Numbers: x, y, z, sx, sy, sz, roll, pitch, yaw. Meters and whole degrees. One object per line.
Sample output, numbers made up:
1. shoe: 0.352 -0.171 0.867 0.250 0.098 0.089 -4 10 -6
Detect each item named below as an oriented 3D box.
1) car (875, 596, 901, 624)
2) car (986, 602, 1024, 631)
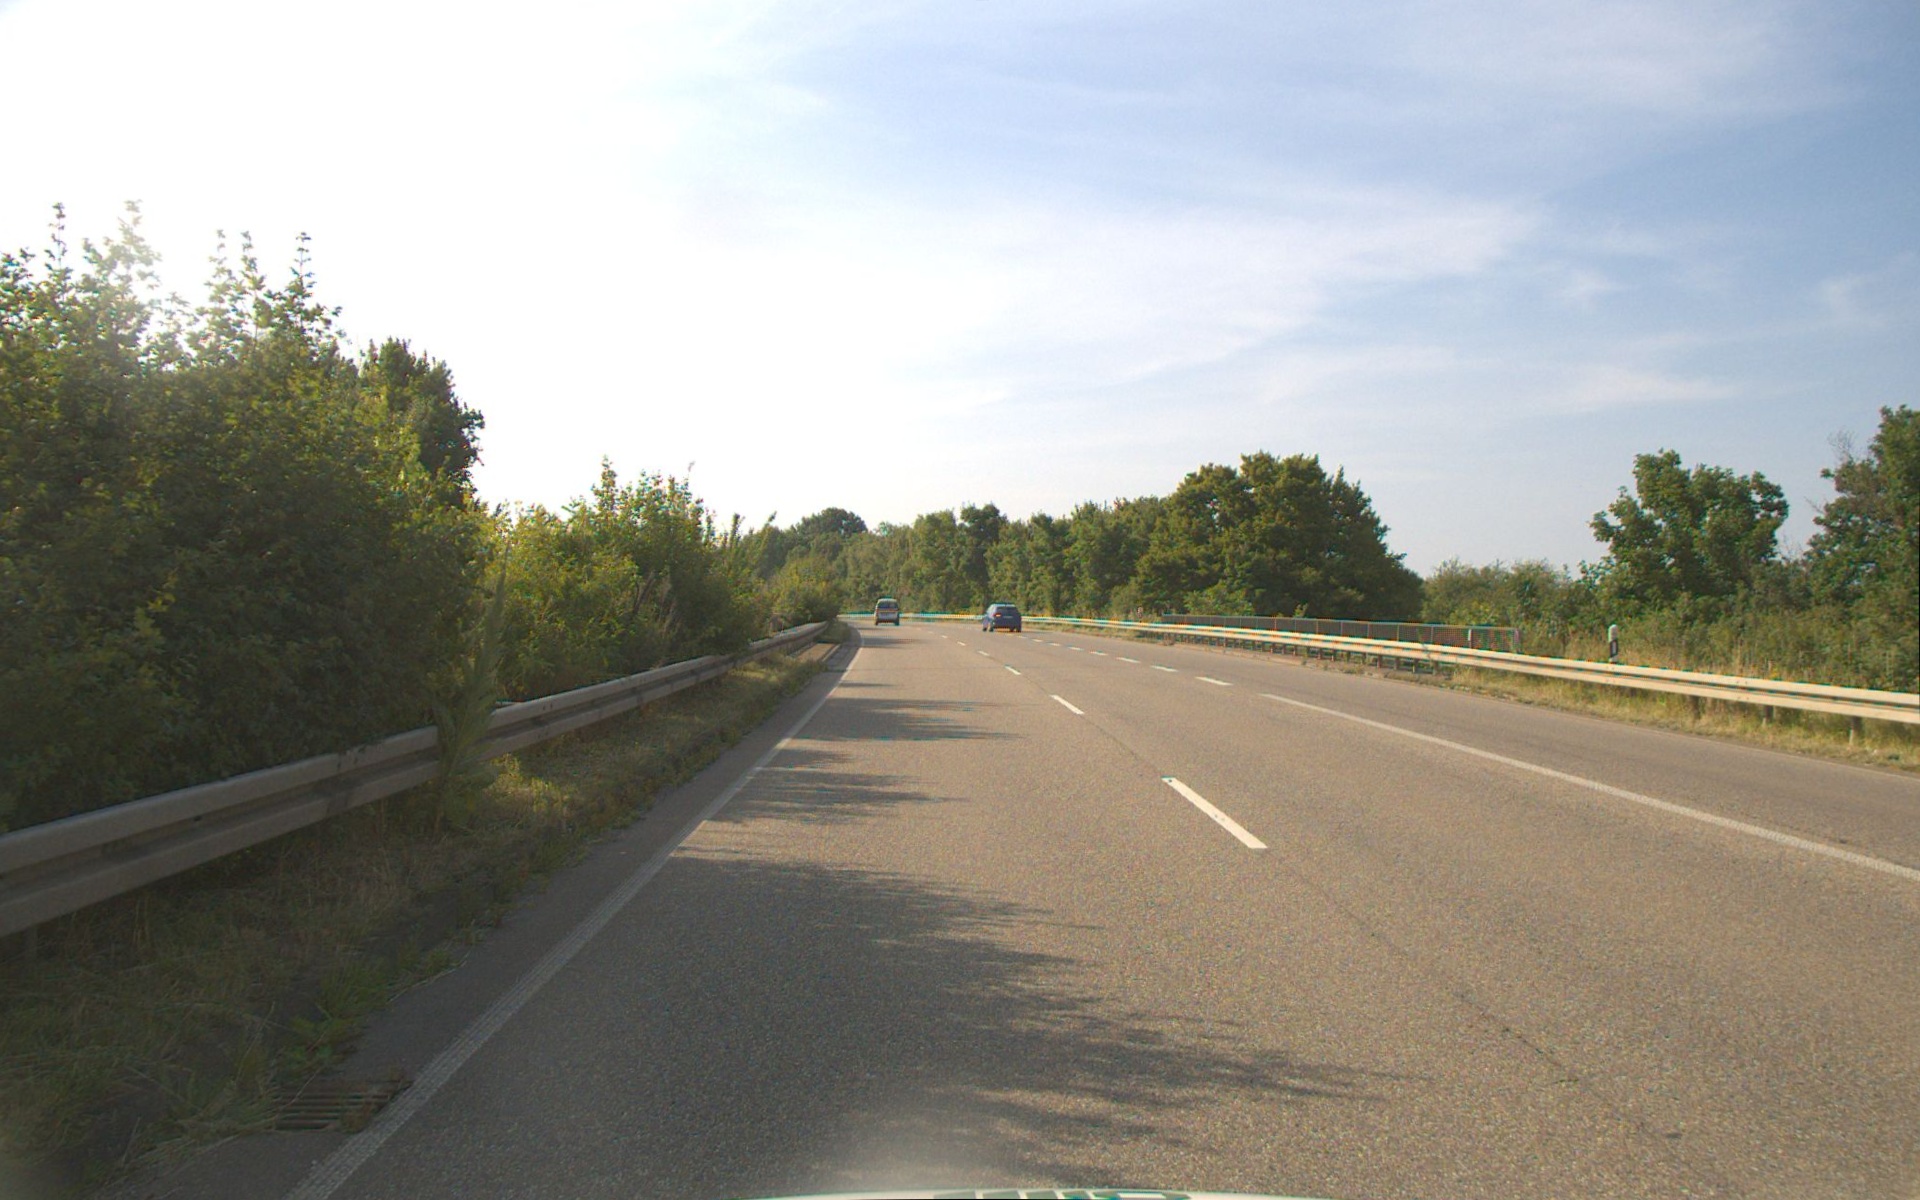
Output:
1. car: -5.103 0.677 116.160 1.730 1.915 3.997 1 0 -4
2. car: 2.397 0.906 89.376 1.743 1.477 3.997 1 -1 -3
